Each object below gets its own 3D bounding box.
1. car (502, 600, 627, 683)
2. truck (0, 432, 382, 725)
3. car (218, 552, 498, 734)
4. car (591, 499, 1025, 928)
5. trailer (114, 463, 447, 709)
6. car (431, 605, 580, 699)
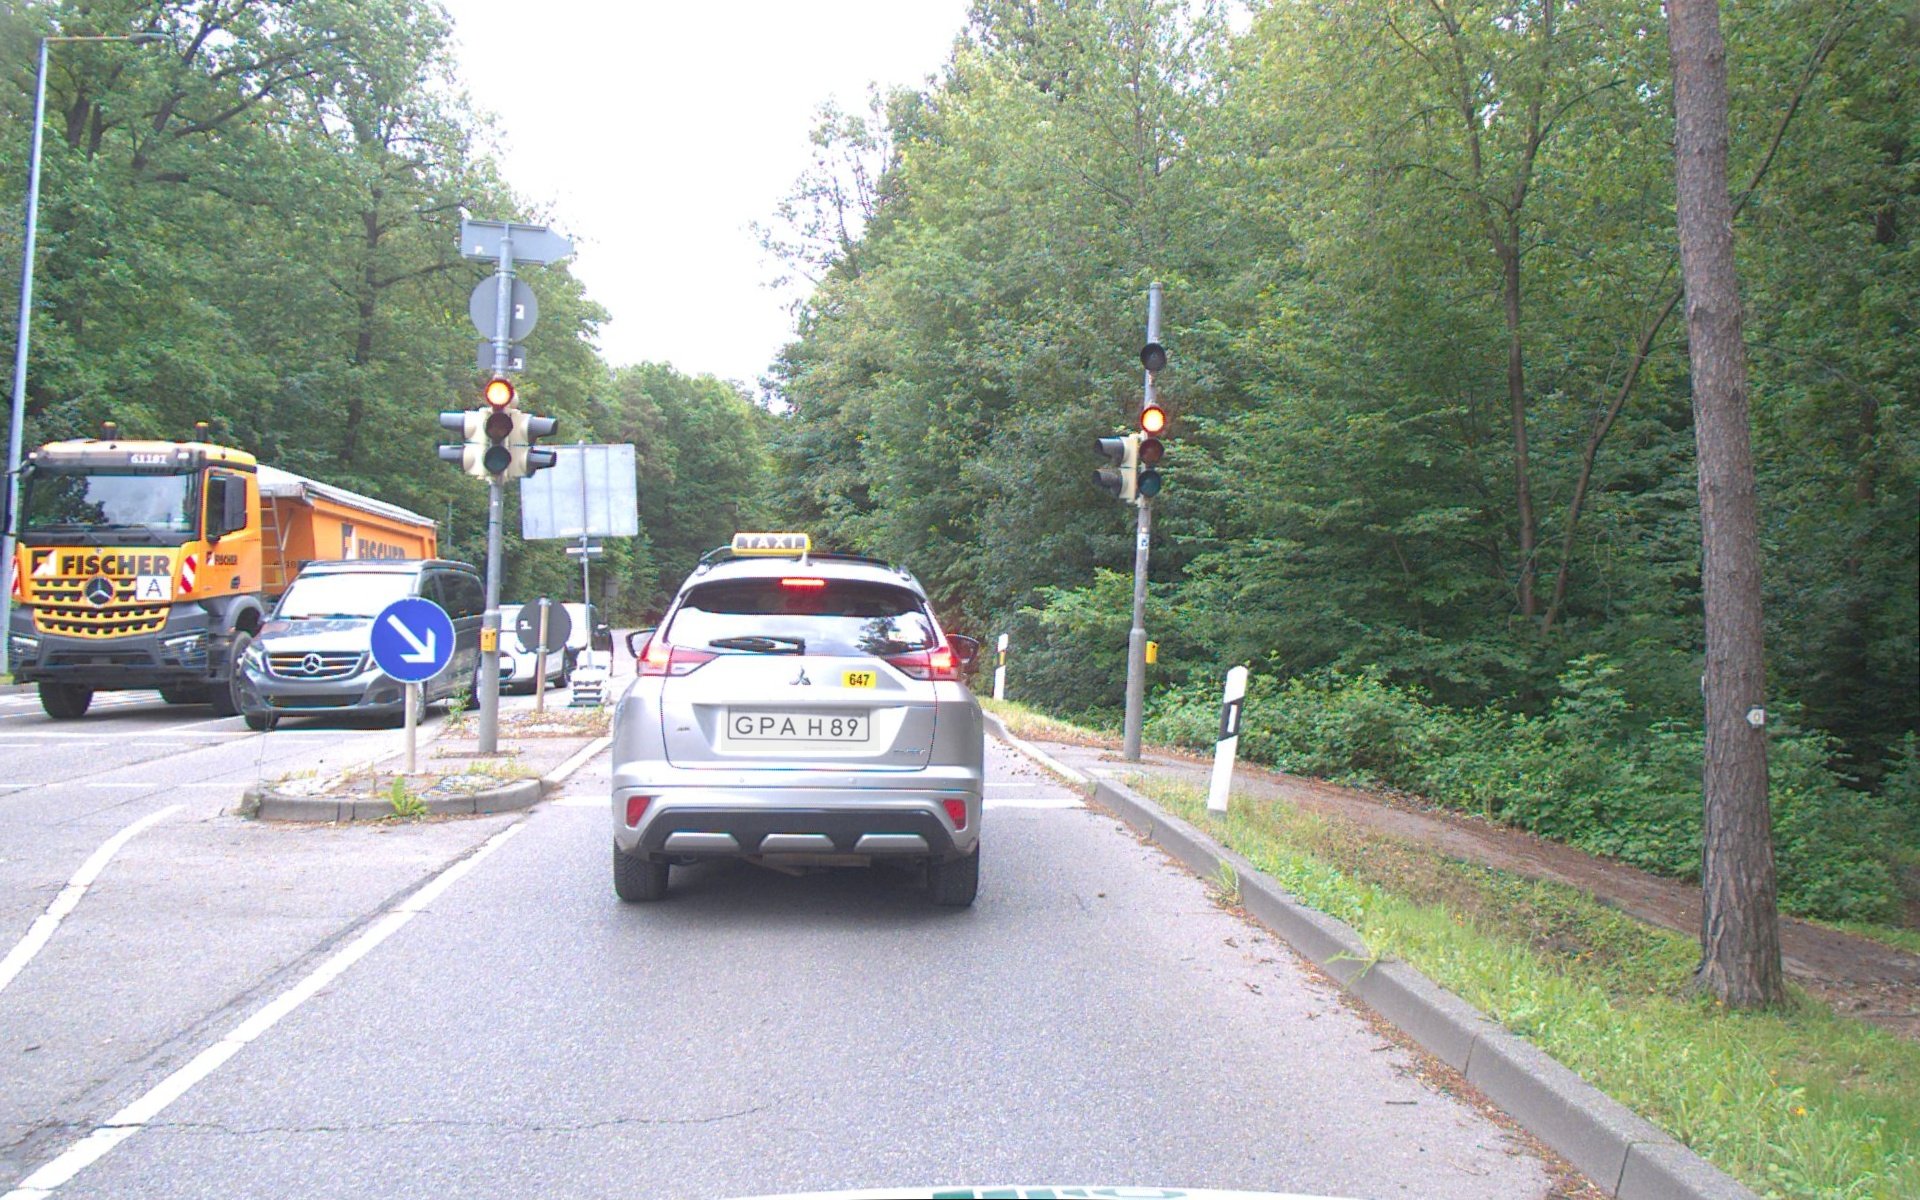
[{"bbox_3d":[-7.911,0.803,33.375,1.775,1.534,3.719,-1,0,-3],"label":"car"},{"bbox_3d":[-10.231,-0.202,22.765,2.686,3.376,7.150,0,-1,-6],"label":"truck"},{"bbox_3d":[-7.131,0.475,20.167,1.954,1.927,4.834,-1,-1,-5],"label":"car"},{"bbox_3d":[-0.851,0.495,9.110,1.811,1.811,3.995,2,0,-6],"label":"car"},{"bbox_3d":[-10.665,-0.138,27.033,2.686,3.376,8.557,0,-1,-6],"label":"trailer"},{"bbox_3d":[-7.435,0.812,27.360,1.580,1.344,3.719,-1,1,-3],"label":"car"}]
